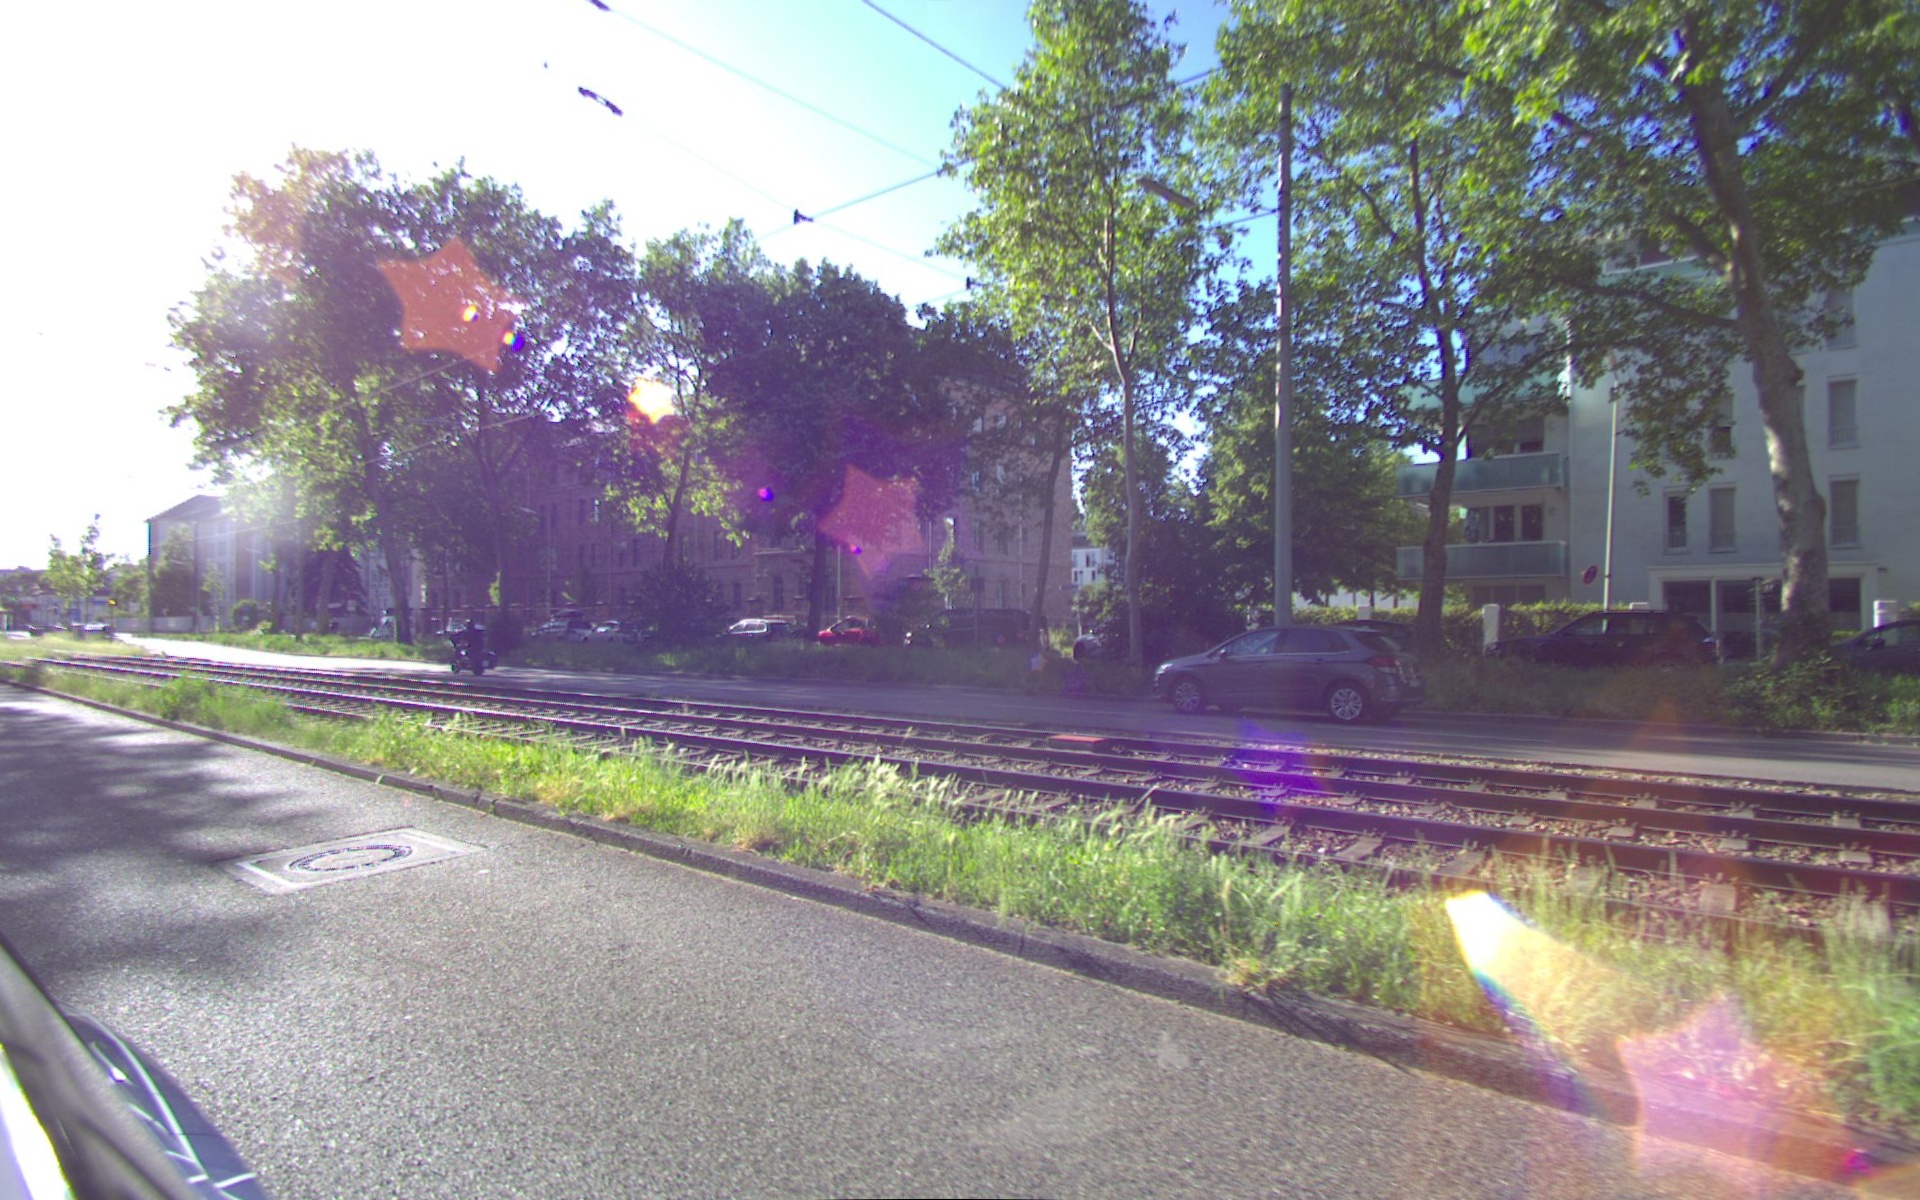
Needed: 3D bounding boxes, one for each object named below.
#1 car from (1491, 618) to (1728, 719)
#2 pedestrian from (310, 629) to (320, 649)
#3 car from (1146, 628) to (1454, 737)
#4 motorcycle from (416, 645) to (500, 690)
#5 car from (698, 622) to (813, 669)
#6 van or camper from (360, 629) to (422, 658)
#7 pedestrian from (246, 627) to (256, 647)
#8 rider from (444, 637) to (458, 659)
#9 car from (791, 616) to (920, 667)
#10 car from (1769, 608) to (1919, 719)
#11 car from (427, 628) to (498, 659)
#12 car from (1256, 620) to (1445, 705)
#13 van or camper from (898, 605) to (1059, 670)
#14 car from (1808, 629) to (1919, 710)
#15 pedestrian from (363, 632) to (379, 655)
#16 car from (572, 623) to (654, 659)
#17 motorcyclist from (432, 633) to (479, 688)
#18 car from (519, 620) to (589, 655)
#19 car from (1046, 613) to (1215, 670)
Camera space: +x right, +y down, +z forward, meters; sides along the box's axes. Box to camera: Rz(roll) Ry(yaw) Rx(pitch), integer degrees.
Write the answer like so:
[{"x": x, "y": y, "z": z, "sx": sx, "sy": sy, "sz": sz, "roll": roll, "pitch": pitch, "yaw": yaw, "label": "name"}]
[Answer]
[{"x": 14.336, "y": 1.450, "z": 22.469, "sx": 4.171, "sy": 2.029, "sz": 1.973, "roll": -2, "pitch": -2, "yaw": 41, "label": "car"}, {"x": -62.311, "y": 3.777, "z": 97.810, "sx": 0.572, "sy": 1.851, "sz": 0.686, "roll": -2, "pitch": -2, "yaw": 39, "label": "pedestrian"}, {"x": 5.339, "y": 1.248, "z": 16.232, "sx": 4.336, "sy": 1.520, "sz": 1.776, "roll": -2, "pitch": -4, "yaw": 41, "label": "car"}, {"x": -14.576, "y": 1.913, "z": 29.309, "sx": 3.349, "sy": 1.221, "sz": 0.954, "roll": -2, "pitch": -2, "yaw": 41, "label": "motorcycle"}, {"x": -8.431, "y": 1.837, "z": 41.601, "sx": 4.732, "sy": 1.823, "sz": 2.088, "roll": -2, "pitch": -2, "yaw": 38, "label": "car"}, {"x": -36.955, "y": 2.802, "z": 65.697, "sx": 4.426, "sy": 1.801, "sz": 1.974, "roll": -2, "pitch": -3, "yaw": 38, "label": "van or camper"}, {"x": -72.088, "y": 3.801, "z": 102.879, "sx": 0.859, "sy": 2.029, "sz": 0.656, "roll": -2, "pitch": -2, "yaw": 39, "label": "pedestrian"}, {"x": -38.024, "y": 3.587, "z": 75.621, "sx": 0.685, "sy": 1.657, "sz": 0.721, "roll": -2, "pitch": -2, "yaw": 40, "label": "rider"}, {"x": -3.948, "y": 1.546, "z": 37.943, "sx": 4.732, "sy": 1.823, "sz": 2.088, "roll": -2, "pitch": -2, "yaw": 39, "label": "car"}, {"x": 18.154, "y": 1.184, "z": 19.370, "sx": 4.090, "sy": 2.029, "sz": 1.973, "roll": -2, "pitch": -2, "yaw": 40, "label": "car"}, {"x": -28.909, "y": 2.532, "z": 58.751, "sx": 4.823, "sy": 1.662, "sz": 1.973, "roll": -3, "pitch": -3, "yaw": 41, "label": "car"}, {"x": 10.045, "y": 1.558, "z": 26.168, "sx": 4.155, "sy": 2.029, "sz": 1.974, "roll": -2, "pitch": -2, "yaw": 39, "label": "car"}, {"x": 0.562, "y": 1.244, "z": 34.235, "sx": 5.212, "sy": 2.029, "sz": 2.243, "roll": -1, "pitch": -2, "yaw": 40, "label": "van or camper"}, {"x": 24.782, "y": 1.782, "z": 26.414, "sx": 3.998, "sy": 2.029, "sz": 1.973, "roll": -2, "pitch": -2, "yaw": 41, "label": "car"}, {"x": -49.271, "y": 3.612, "z": 84.617, "sx": 0.941, "sy": 1.914, "sz": 0.891, "roll": -2, "pitch": -2, "yaw": 41, "label": "pedestrian"}, {"x": -16.758, "y": 1.960, "z": 48.770, "sx": 4.421, "sy": 1.628, "sz": 1.971, "roll": -2, "pitch": -2, "yaw": 44, "label": "car"}, {"x": -14.624, "y": 1.740, "z": 29.344, "sx": 0.958, "sy": 1.525, "sz": 0.934, "roll": -2, "pitch": -2, "yaw": 40, "label": "motorcyclist"}, {"x": -20.996, "y": 1.934, "z": 52.262, "sx": 4.421, "sy": 1.732, "sz": 1.748, "roll": -2, "pitch": -2, "yaw": 44, "label": "car"}, {"x": 5.171, "y": 1.301, "z": 31.369, "sx": 2.002, "sy": 1.611, "sz": 5.096, "roll": 4, "pitch": -4, "yaw": -40, "label": "car"}]
